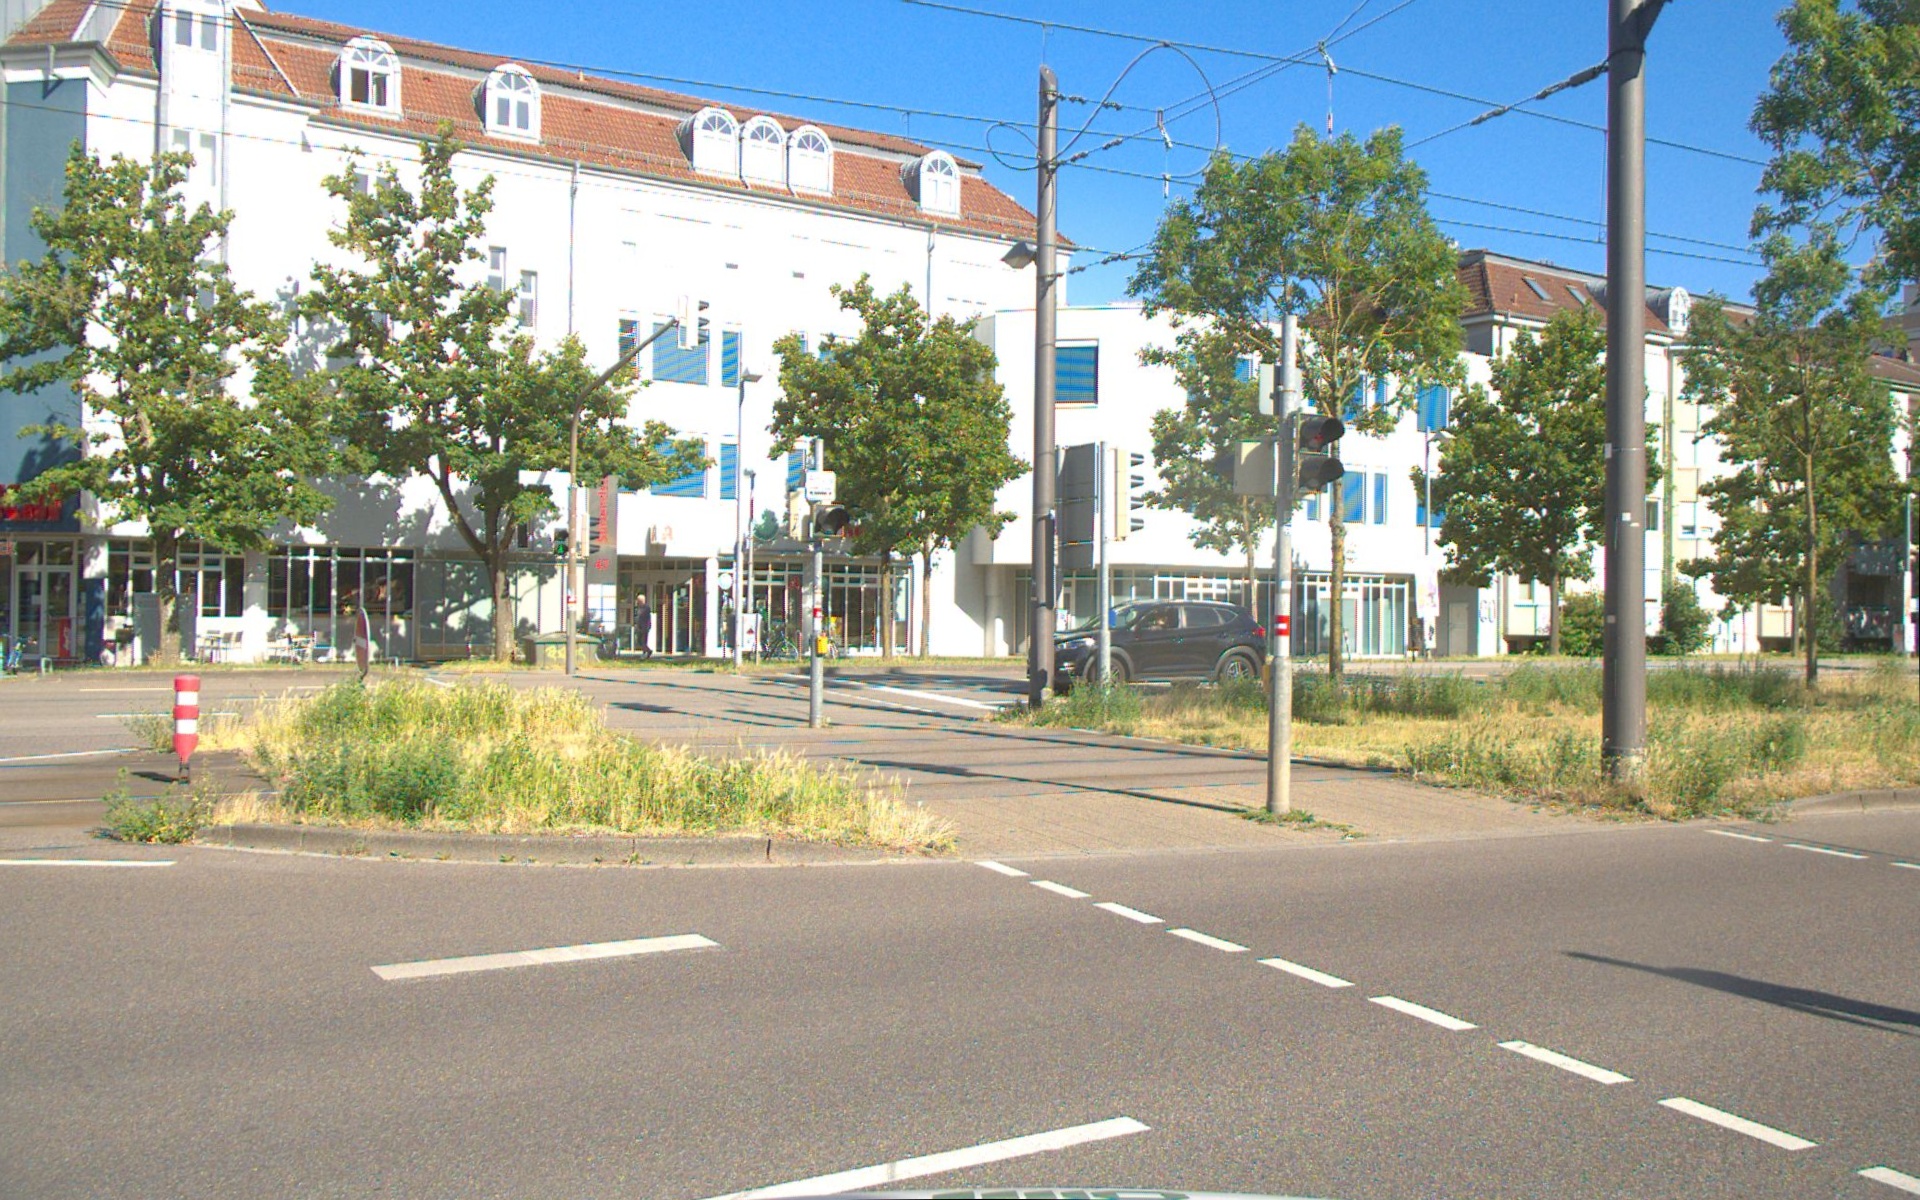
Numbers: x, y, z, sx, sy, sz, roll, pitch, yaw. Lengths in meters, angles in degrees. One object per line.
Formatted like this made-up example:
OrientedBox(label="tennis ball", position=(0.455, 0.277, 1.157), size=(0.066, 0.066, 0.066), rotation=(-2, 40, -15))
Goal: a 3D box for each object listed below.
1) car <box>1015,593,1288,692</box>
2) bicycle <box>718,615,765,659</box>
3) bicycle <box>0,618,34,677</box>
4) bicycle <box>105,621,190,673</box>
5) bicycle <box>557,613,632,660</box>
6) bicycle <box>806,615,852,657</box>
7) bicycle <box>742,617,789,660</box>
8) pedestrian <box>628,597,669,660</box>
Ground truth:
OrientedBox(label="car", position=(3.384, 0.722, 29.173), size=(4.442, 1.638, 1.985), rotation=(1, -1, -24))
OrientedBox(label="bicycle", position=(-6.170, 1.036, 46.692), size=(0.555, 1.203, 1.847), rotation=(1, -1, -34))
OrientedBox(label="bicycle", position=(-17.632, 0.865, 30.621), size=(0.469, 1.045, 1.491), rotation=(1, -1, -45))
OrientedBox(label="bicycle", position=(-16.438, 0.947, 33.483), size=(1.490, 1.045, 0.470), rotation=(0, -1, -23))
OrientedBox(label="bicycle", position=(-9.519, 0.945, 43.067), size=(1.850, 1.203, 0.554), rotation=(1, -1, -38))
OrientedBox(label="bicycle", position=(-3.826, 1.034, 48.128), size=(0.555, 1.203, 1.849), rotation=(1, -1, -31))
OrientedBox(label="bicycle", position=(-5.593, 1.086, 47.444), size=(0.555, 1.203, 1.847), rotation=(1, -1, -34))
OrientedBox(label="pedestrian", position=(-8.750, 0.801, 46.466), size=(0.981, 1.753, 0.646), rotation=(1, -1, -35))
